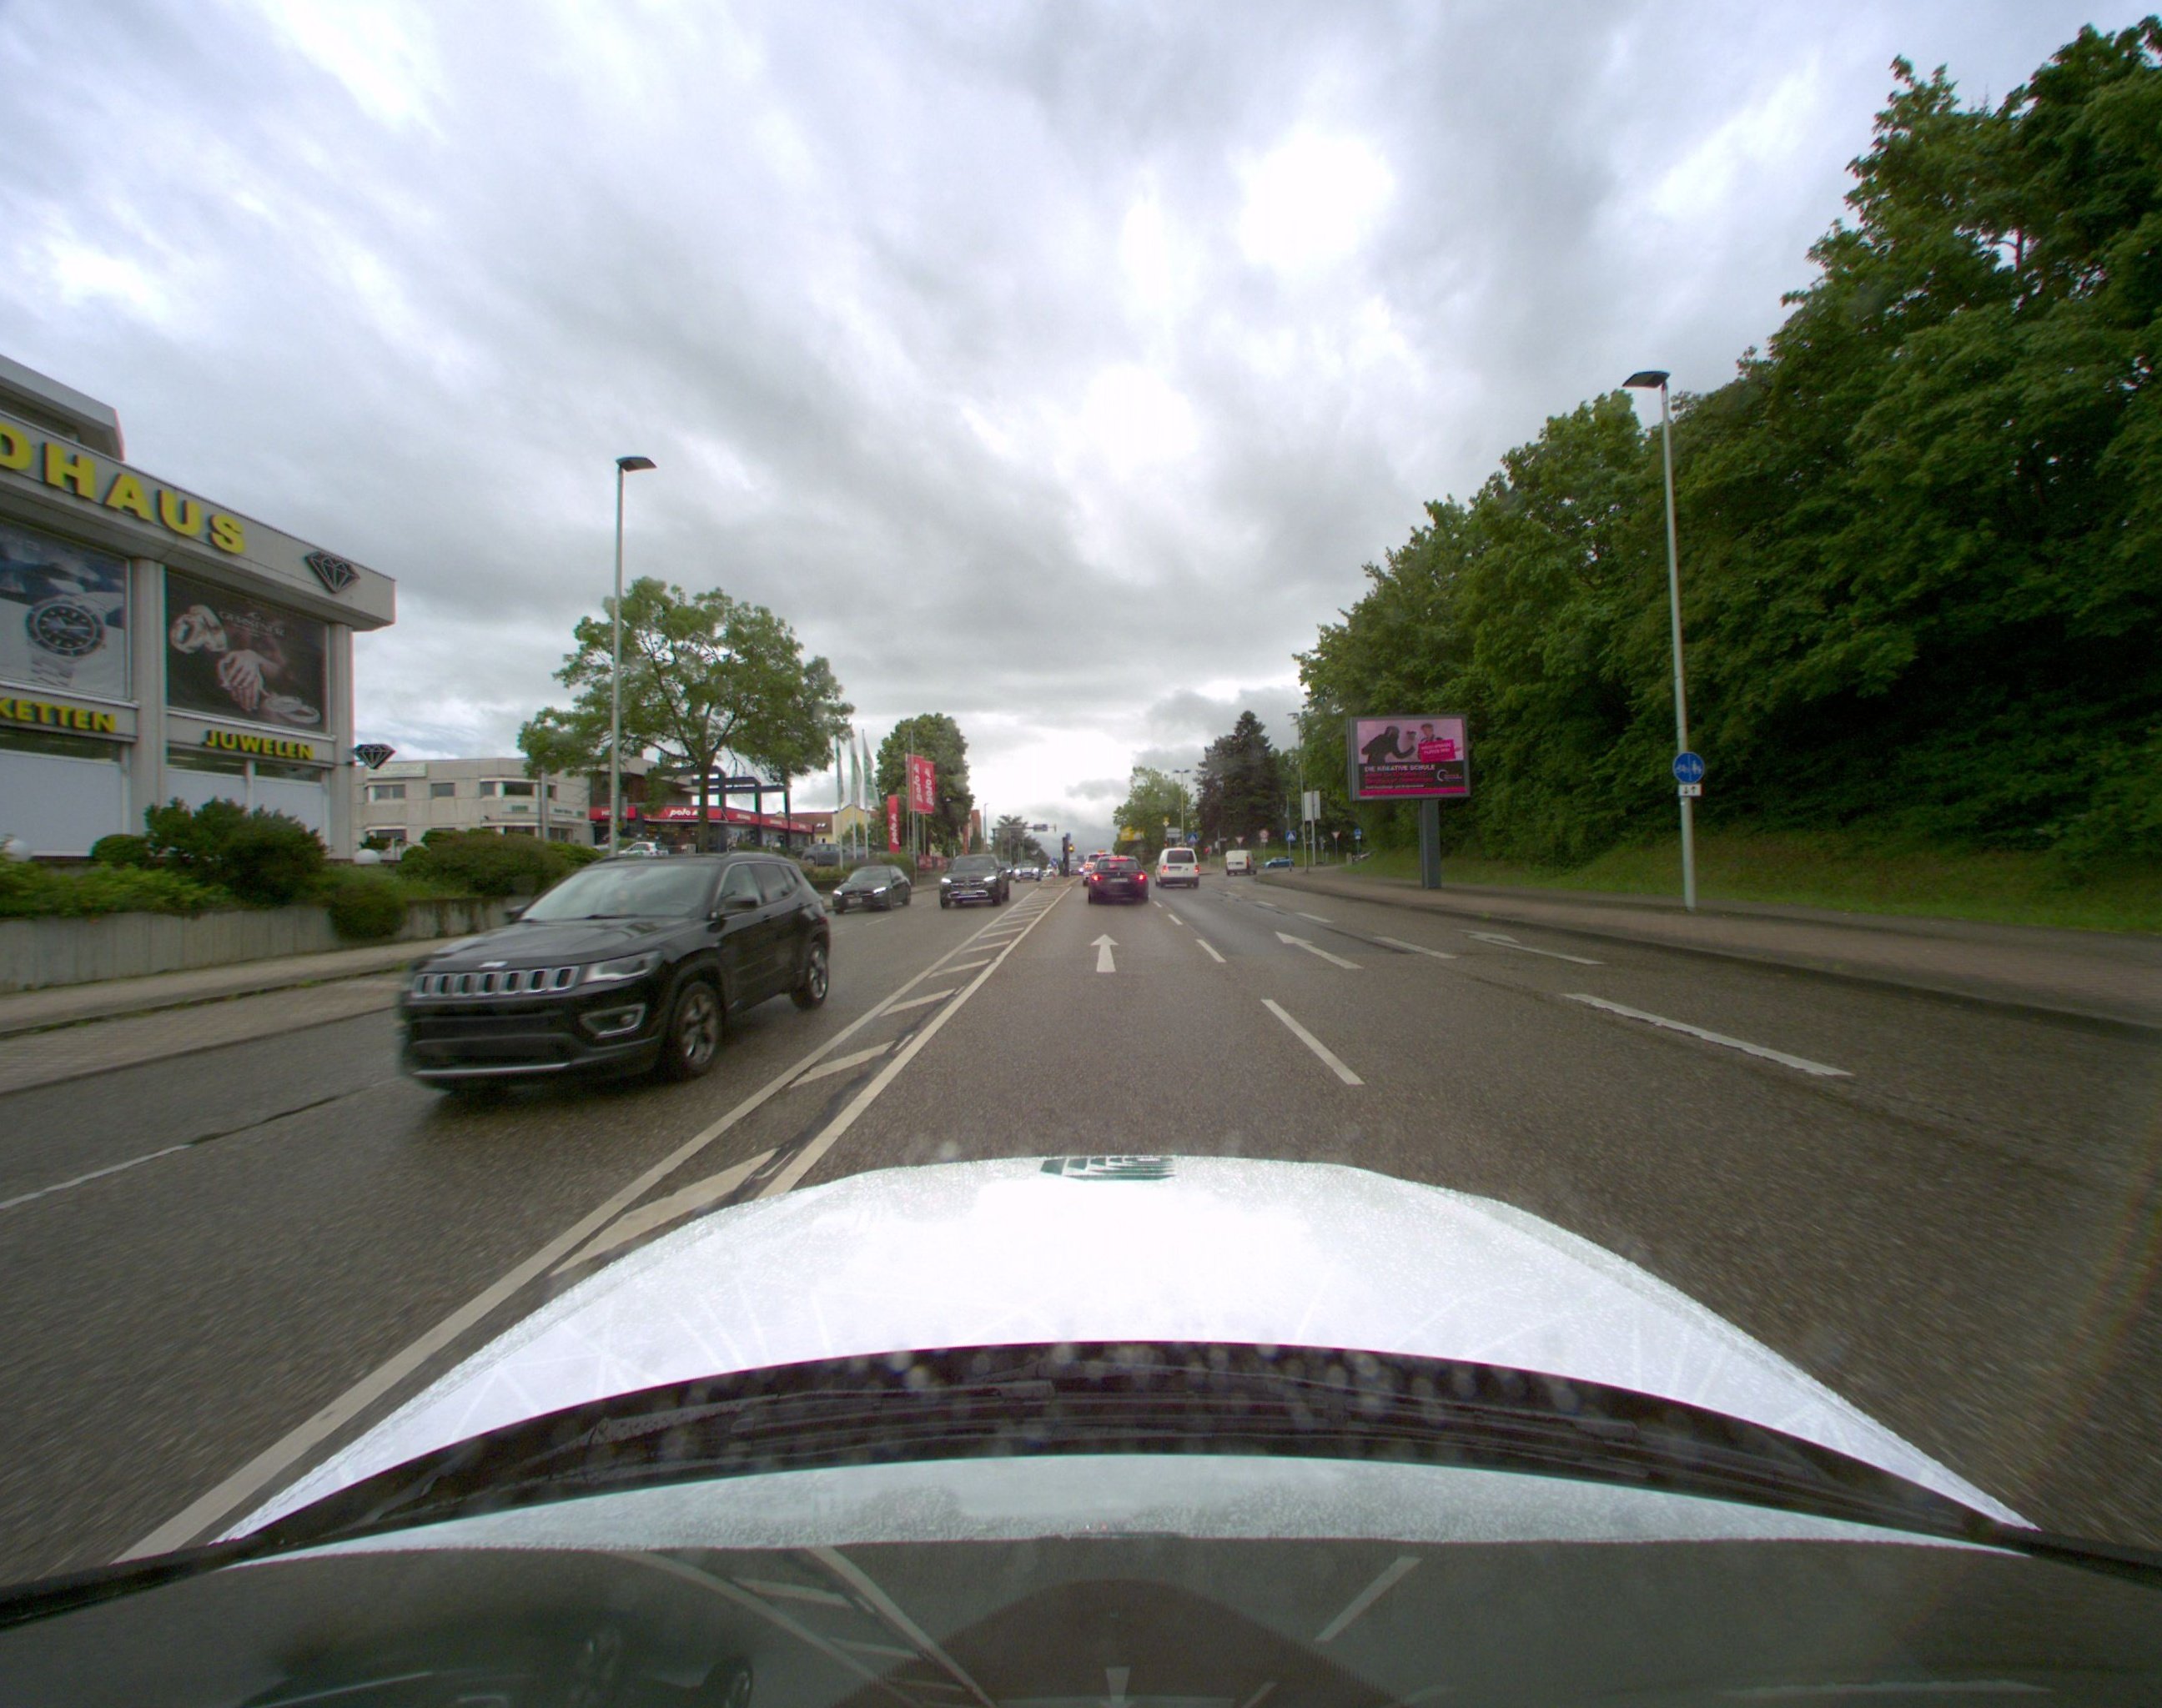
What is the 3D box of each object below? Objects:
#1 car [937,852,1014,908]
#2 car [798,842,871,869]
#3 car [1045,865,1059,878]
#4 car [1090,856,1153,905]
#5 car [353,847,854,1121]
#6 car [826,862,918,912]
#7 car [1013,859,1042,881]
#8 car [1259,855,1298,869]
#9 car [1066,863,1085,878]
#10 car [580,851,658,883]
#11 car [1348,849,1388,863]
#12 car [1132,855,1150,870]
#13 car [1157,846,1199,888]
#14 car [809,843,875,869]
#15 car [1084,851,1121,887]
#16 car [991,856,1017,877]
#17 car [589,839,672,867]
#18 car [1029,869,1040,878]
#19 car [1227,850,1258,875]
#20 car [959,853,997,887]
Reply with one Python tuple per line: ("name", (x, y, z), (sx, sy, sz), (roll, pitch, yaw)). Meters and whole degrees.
("car", (-3.379, 0.795, 26.875), (1.816, 1.607, 4.284), (-3, 0, 1))
("car", (-14.520, 0.100, 48.147), (3.822, 1.482, 1.738), (-2, 0, -6))
("car", (-4.211, 2.535, 118.025), (1.852, 1.823, 4.578), (-4, -1, 0))
("car", (1.313, 0.778, 25.826), (1.847, 1.419, 3.961), (0, 0, 4))
("car", (-3.511, 0.781, 7.099), (1.790, 1.583, 4.198), (-3, 0, 0))
("car", (-6.881, 1.058, 27.338), (1.786, 1.401, 4.302), (-3, 0, 2))
("car", (-3.668, 1.098, 56.367), (1.662, 1.398, 3.998), (-3, 0, -1))
("car", (22.046, 0.912, 90.920), (3.997, 1.294, 1.599), (-3, 0, -17))
("car", (-0.616, 1.685, 85.072), (1.890, 1.456, 4.093), (-2, -1, -2))
("car", (-24.337, 0.655, 43.091), (1.668, 1.512, 4.004), (-3, 0, 2))
("car", (32.509, 0.205, 92.335), (4.343, 1.467, 1.883), (-2, -1, -29))
("car", (5.918, 0.832, 80.804), (1.594, 1.372, 3.683), (-2, 1, 3))
("car", (4.470, 0.582, 37.969), (1.734, 1.869, 3.949), (0, 0, 3))
("car", (-14.886, 0.103, 50.923), (3.642, 1.482, 1.738), (-2, 0, -6))
("car", (1.136, 0.748, 41.546), (1.720, 1.711, 3.387), (-1, 1, 4))
("car", (-6.762, 1.069, 71.821), (1.746, 1.610, 4.531), (-3, 0, -1))
("car", (-26.731, -0.045, 48.397), (3.819, 1.482, 1.872), (-2, 0, -4))
("car", (-7.863, 3.271, 137.999), (1.662, 1.382, 4.072), (-2, -1, 1))
("car", (12.168, 0.590, 61.326), (1.800, 1.708, 3.964), (-2, 1, 18))
("car", (-6.458, 0.969, 51.585), (1.791, 1.983, 4.896), (-3, 0, -1))
